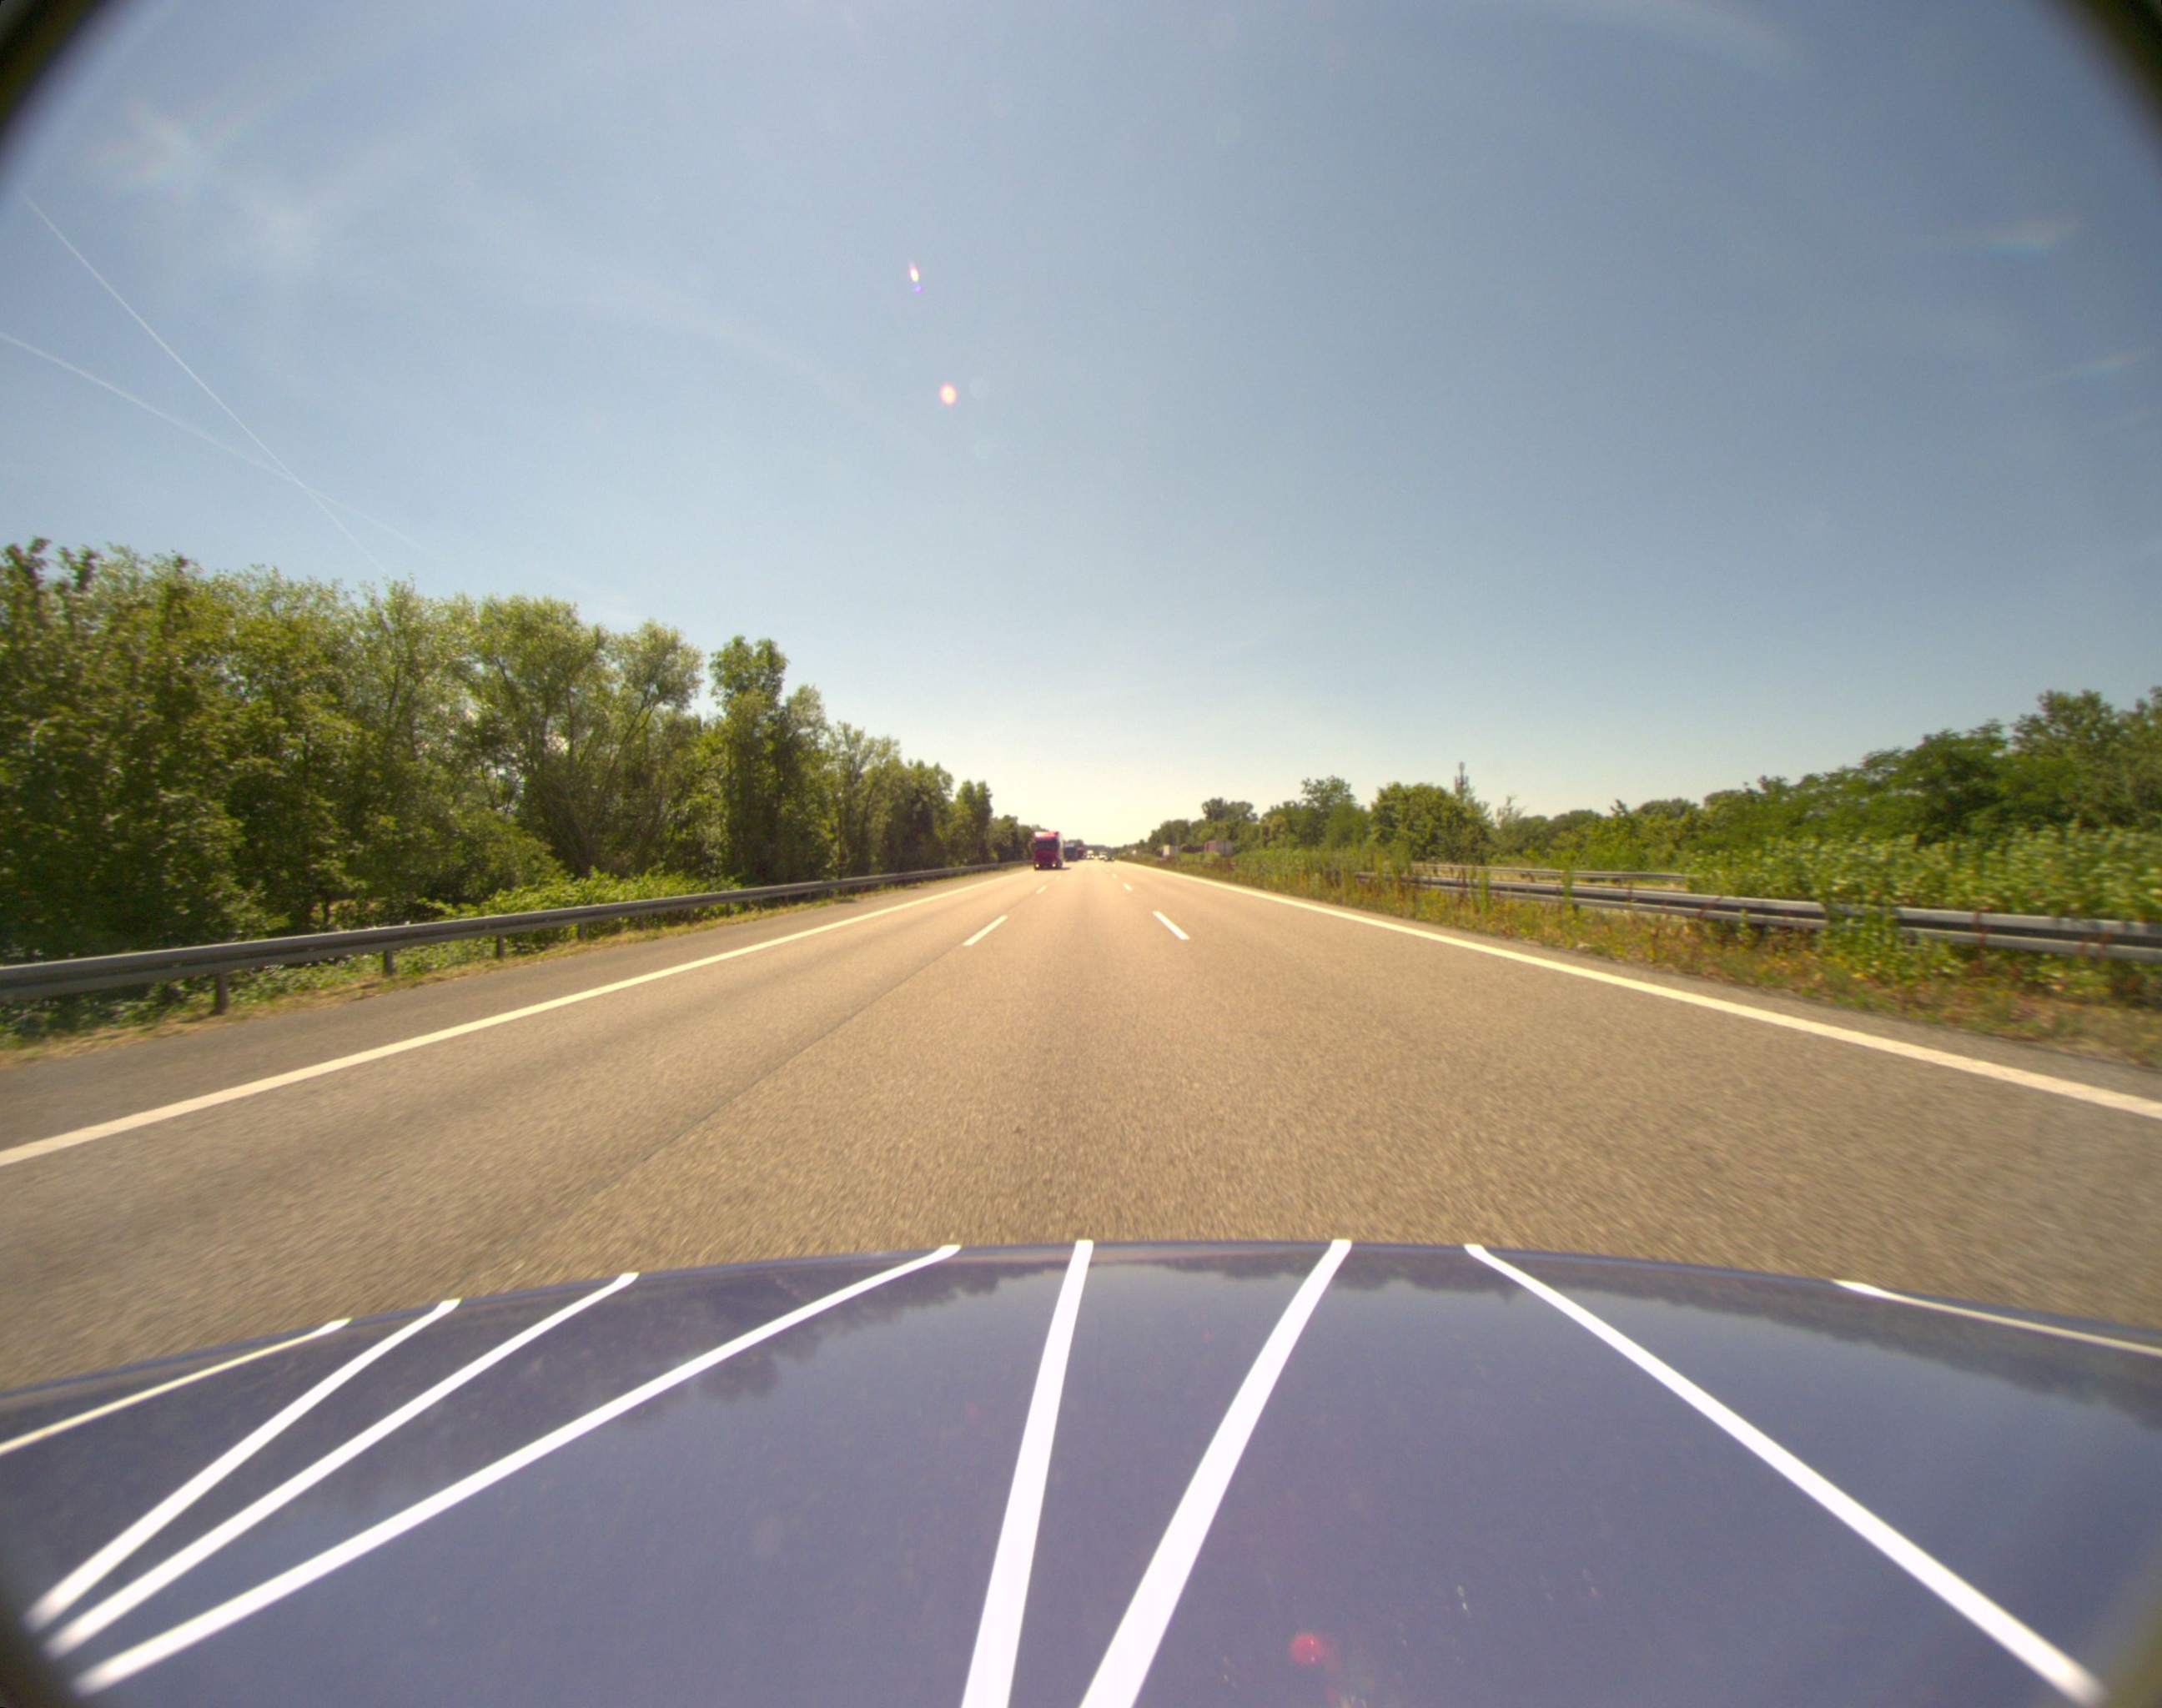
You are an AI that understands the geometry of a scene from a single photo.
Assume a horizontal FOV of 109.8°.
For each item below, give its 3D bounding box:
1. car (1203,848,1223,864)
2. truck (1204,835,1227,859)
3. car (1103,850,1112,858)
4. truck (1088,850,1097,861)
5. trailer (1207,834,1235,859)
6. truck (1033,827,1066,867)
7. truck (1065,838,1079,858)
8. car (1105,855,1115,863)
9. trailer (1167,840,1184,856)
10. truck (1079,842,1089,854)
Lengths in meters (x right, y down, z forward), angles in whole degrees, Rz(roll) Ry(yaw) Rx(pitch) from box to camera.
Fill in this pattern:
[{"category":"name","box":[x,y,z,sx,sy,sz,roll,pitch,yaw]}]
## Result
[{"category":"car","box":[18.438,0.270,106.253,1.999,2.002,3.999,-2,0,-1]},{"category":"truck","box":[23.519,-1.233,133.070,2.967,3.953,6.362,-2,1,1]},{"category":"car","box":[6.540,-0.044,187.053,1.998,2.002,4.755,-2,0,1]},{"category":"truck","box":[3.718,0.361,239.161,2.726,3.391,9.769,-2,0,1]},{"category":"trailer","box":[23.347,-1.223,127.247,2.939,3.952,10.628,-2,0,2]},{"category":"truck","box":[-3.298,-0.776,82.238,2.938,3.934,10.259,-2,0,1]},{"category":"truck","box":[-1.982,-1.335,174.594,2.938,4.429,10.259,-2,0,1]},{"category":"car","box":[5.558,0.909,145.104,1.736,1.434,4.000,-2,0,1]},{"category":"trailer","box":[24.715,-1.678,199.573,2.939,3.952,12.320,-2,0,1]},{"category":"truck","box":[1.052,-1.977,258.933,2.938,3.934,10.259,-2,0,1]}]
